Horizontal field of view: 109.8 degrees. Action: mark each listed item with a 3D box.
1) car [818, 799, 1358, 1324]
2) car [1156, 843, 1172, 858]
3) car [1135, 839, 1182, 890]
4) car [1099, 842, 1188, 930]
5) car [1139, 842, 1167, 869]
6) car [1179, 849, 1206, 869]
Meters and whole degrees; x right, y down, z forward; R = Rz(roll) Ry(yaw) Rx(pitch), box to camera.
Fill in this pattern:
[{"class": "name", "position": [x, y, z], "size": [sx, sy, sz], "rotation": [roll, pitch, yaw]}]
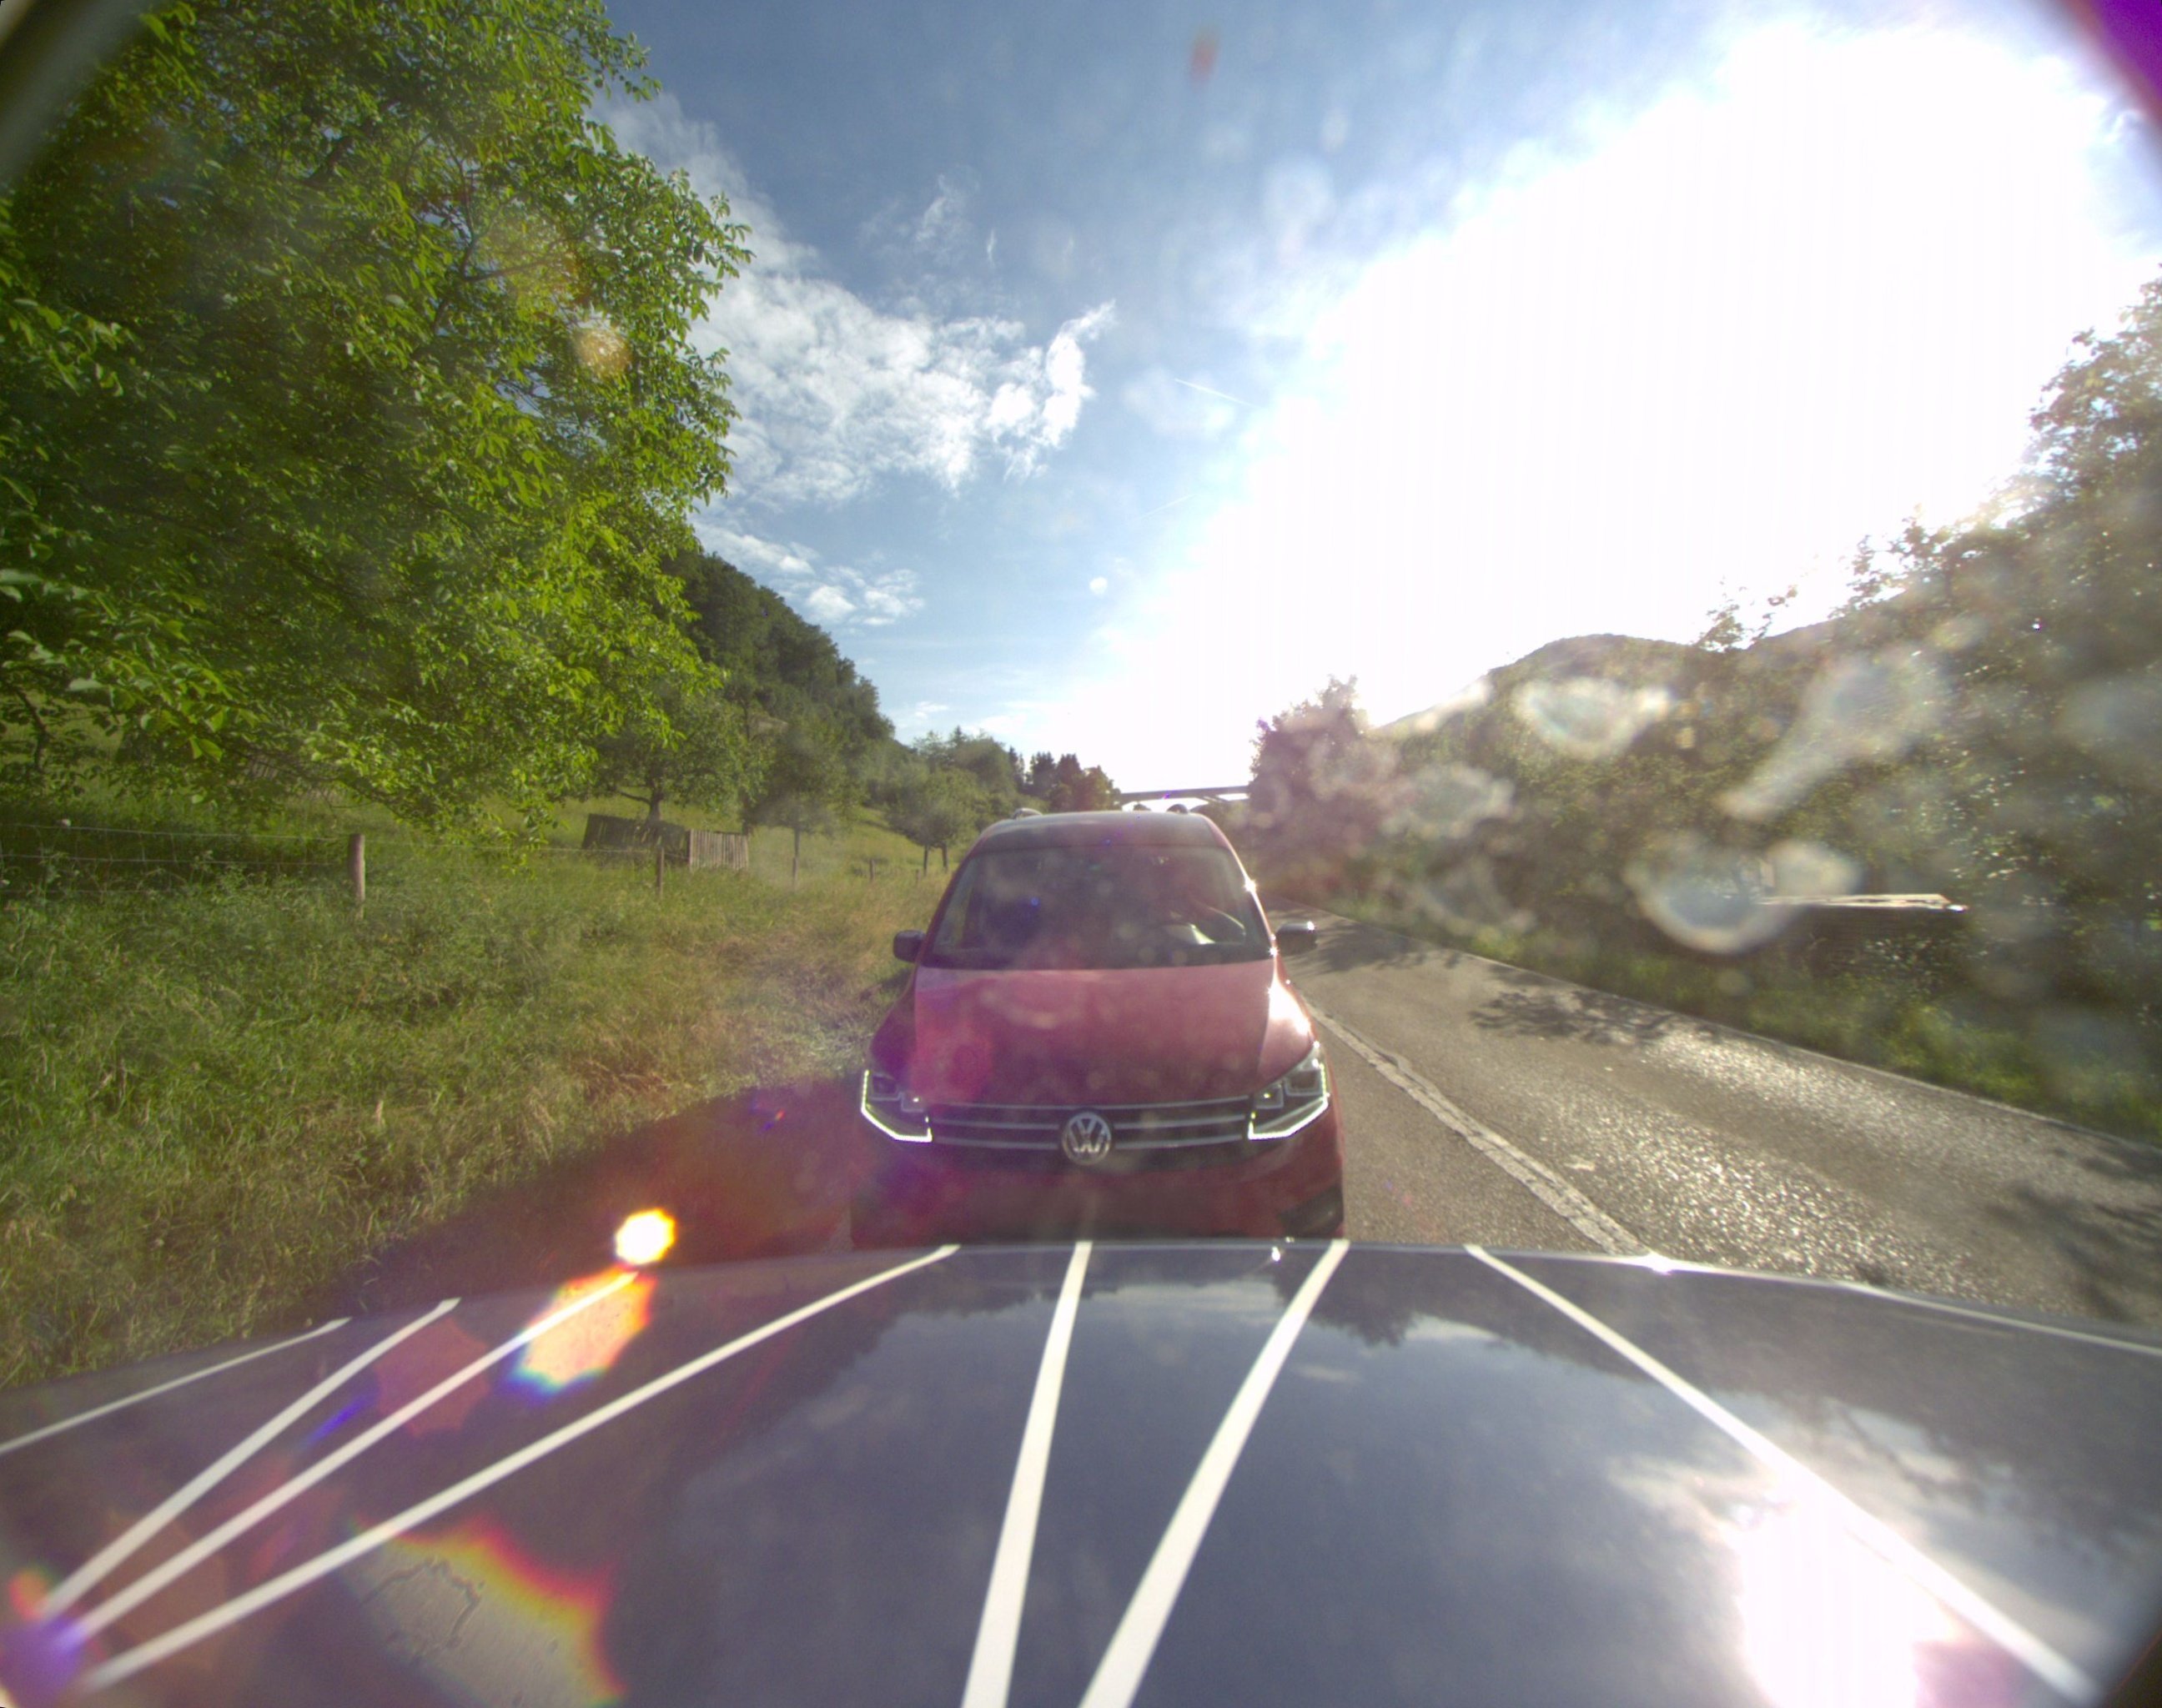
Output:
[{"class": "car", "position": [0.160, 0.691, 4.772], "size": [1.759, 1.745, 4.430], "rotation": [-2, 1, 4]}, {"class": "car", "position": [11.135, -0.478, 102.090], "size": [1.997, 2.002, 4.001], "rotation": [-2, 1, 6]}, {"class": "car", "position": [3.185, 0.384, 31.669], "size": [1.758, 1.926, 4.001], "rotation": [-2, 1, 5]}, {"class": "car", "position": [1.430, 0.626, 17.501], "size": [1.758, 1.745, 4.001], "rotation": [-2, 1, 5]}, {"class": "car", "position": [5.736, 0.116, 60.806], "size": [1.998, 2.002, 4.000], "rotation": [-2, 1, 4]}, {"class": "car", "position": [8.845, 0.360, 60.547], "size": [1.708, 1.422, 4.050], "rotation": [-2, 1, 2]}]
